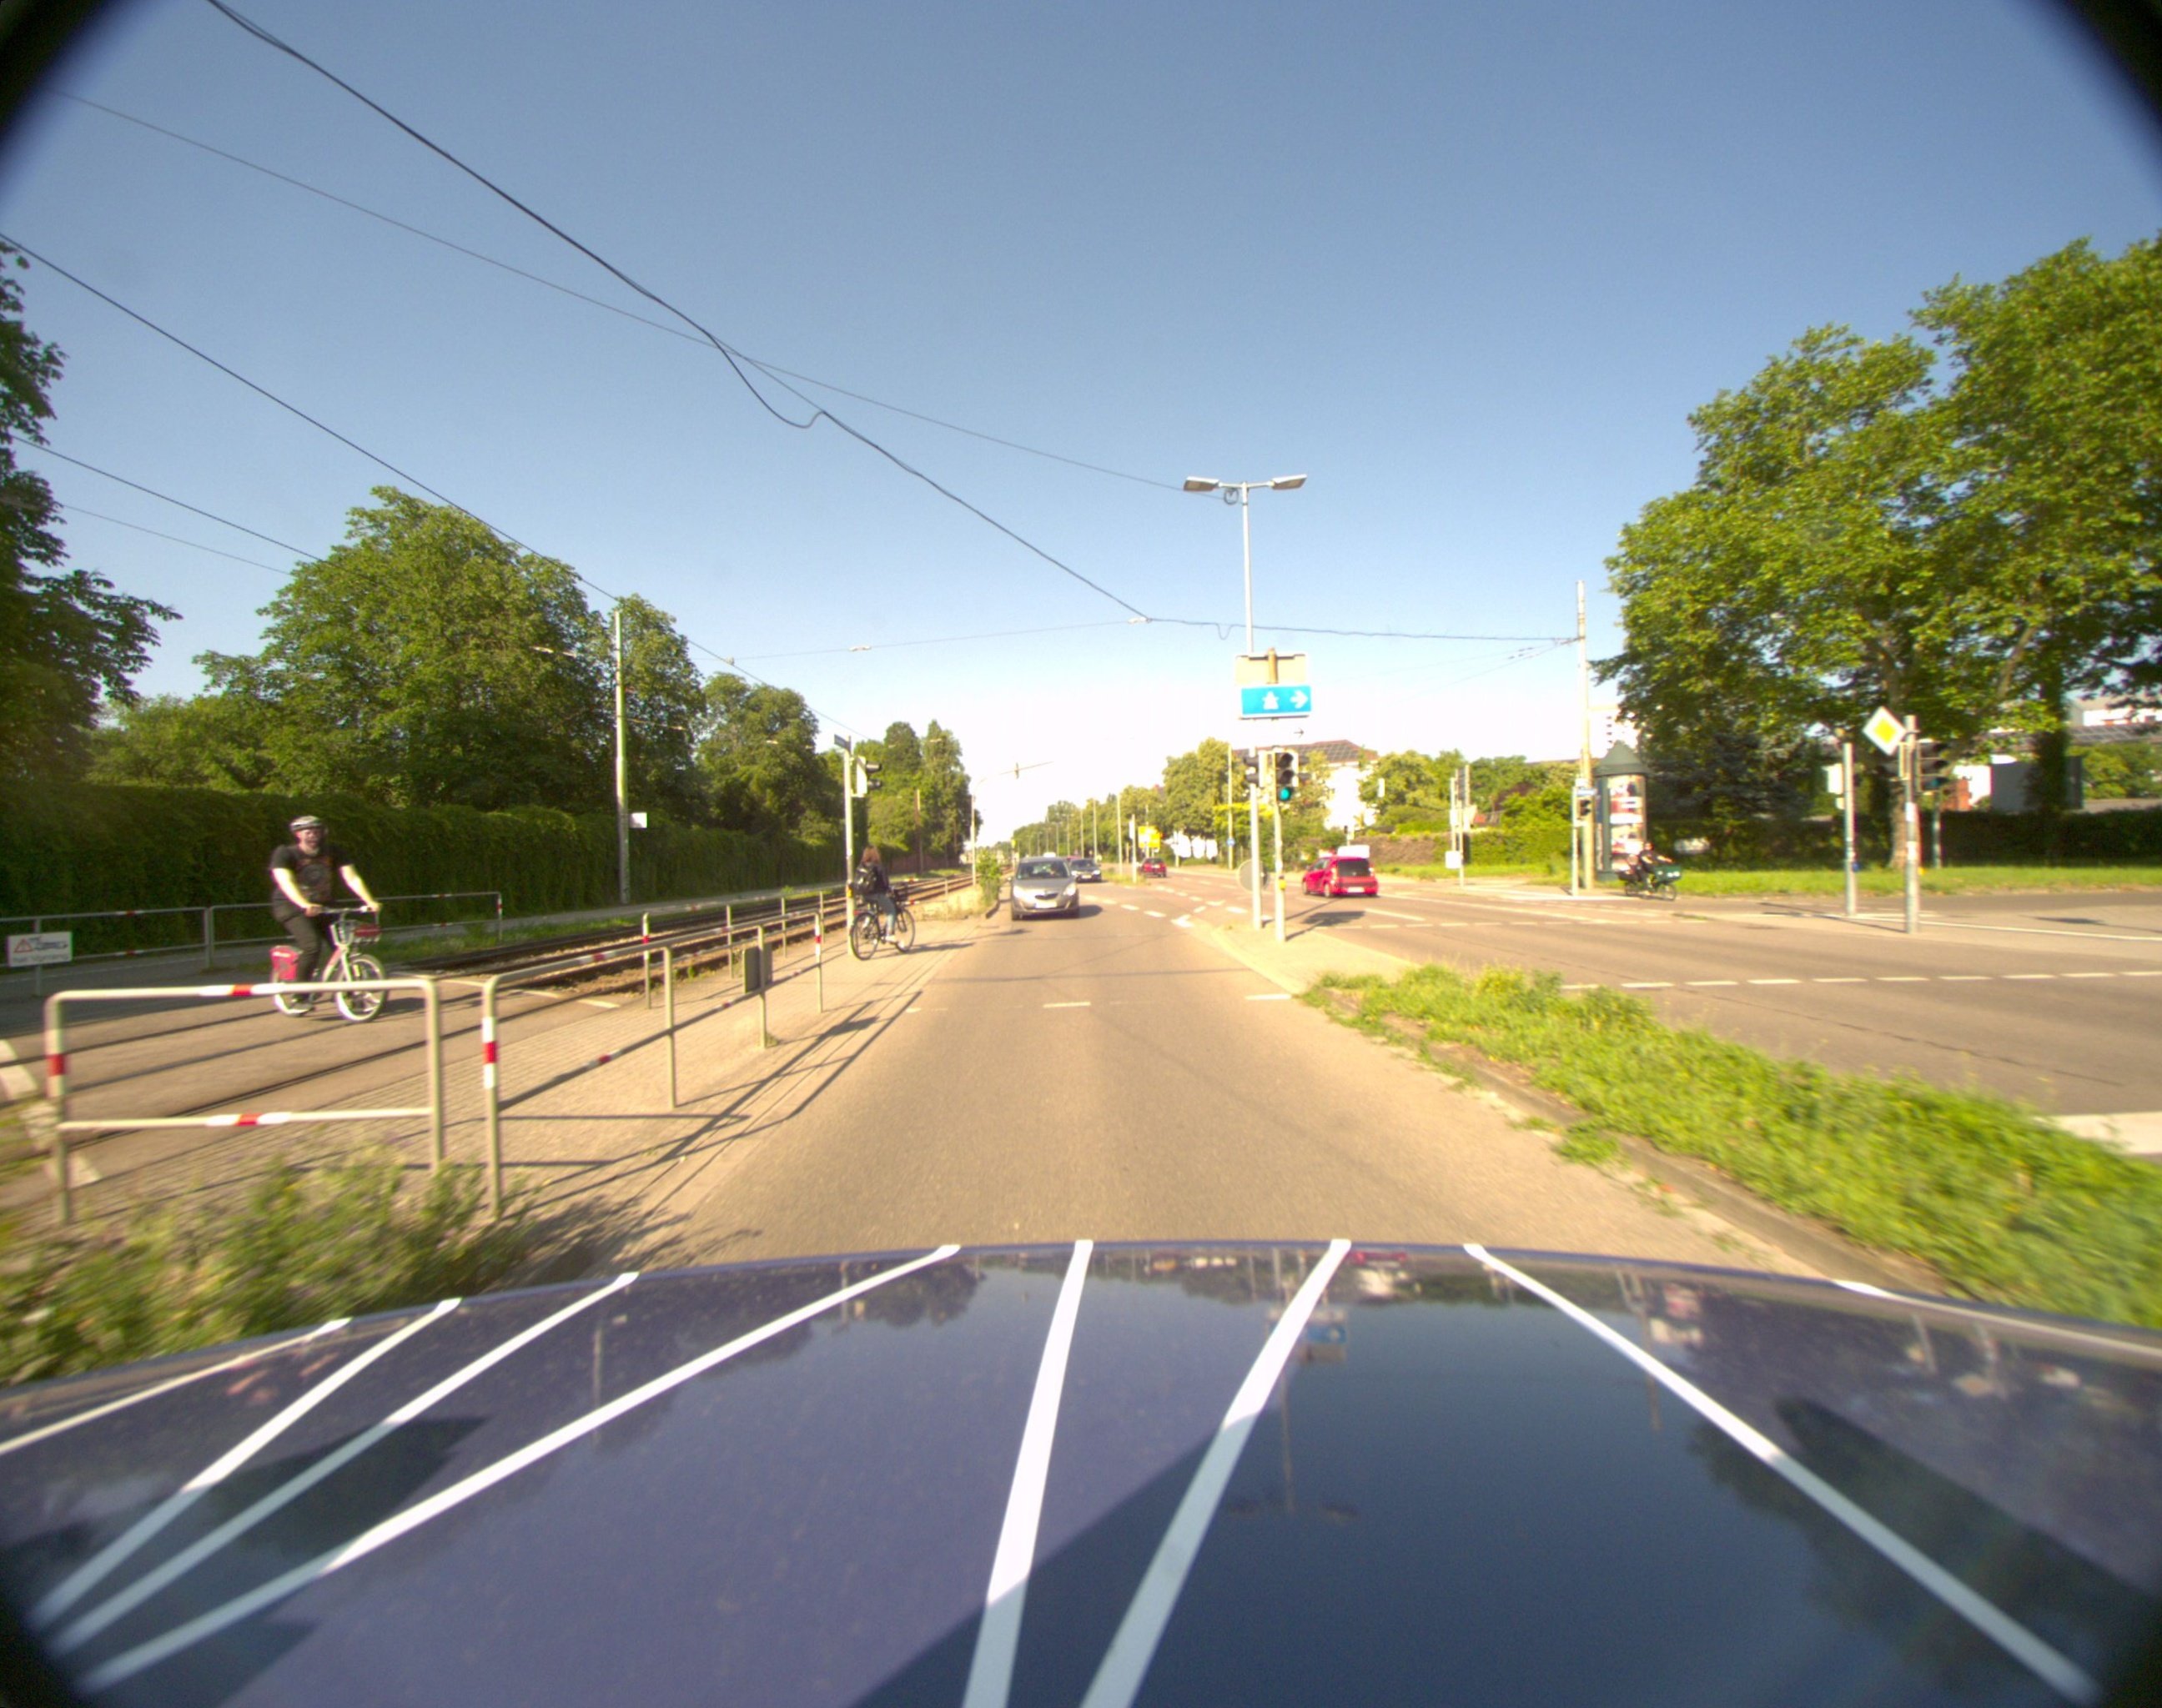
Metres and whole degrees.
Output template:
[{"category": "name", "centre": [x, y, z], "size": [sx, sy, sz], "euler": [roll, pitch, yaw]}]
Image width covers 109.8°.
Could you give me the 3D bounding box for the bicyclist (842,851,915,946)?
[{"category": "bicyclist", "centre": [-3.148, 0.664, 11.885], "size": [0.644, 1.408, 1.014], "euler": [-1, 1, 15]}]

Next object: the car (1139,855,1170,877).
[{"category": "car", "centre": [5.100, 0.824, 53.333], "size": [1.657, 1.387, 4.133], "euler": [-1, 0, -1]}]

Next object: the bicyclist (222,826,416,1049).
[{"category": "bicyclist", "centre": [-7.356, 0.750, 7.368], "size": [1.034, 1.982, 0.949], "euler": [-1, 1, 23]}]

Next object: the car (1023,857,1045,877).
[{"category": "car", "centre": [-3.898, 1.051, 62.307], "size": [1.710, 1.513, 3.831], "euler": [-3, 0, -5]}]

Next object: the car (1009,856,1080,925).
[{"category": "car", "centre": [-0.967, 0.890, 20.239], "size": [1.650, 1.581, 3.832], "euler": [-3, 0, -3]}]

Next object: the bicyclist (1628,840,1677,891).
[{"category": "bicyclist", "centre": [16.790, 0.320, 22.352], "size": [0.663, 1.444, 1.051], "euler": [-1, 1, 2]}]

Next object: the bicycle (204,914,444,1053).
[{"category": "bicycle", "centre": [-7.331, 1.186, 7.371], "size": [1.923, 1.108, 0.949], "euler": [-1, 1, 23]}]

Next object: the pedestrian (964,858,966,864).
[{"category": "pedestrian", "centre": [-30.506, 1.786, 199.645], "size": [0.501, 1.706, 0.885], "euler": [-1, 0, -2]}]

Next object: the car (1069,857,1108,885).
[{"category": "car", "centre": [0.402, 0.982, 45.553], "size": [1.765, 1.477, 4.642], "euler": [-3, 0, -6]}]

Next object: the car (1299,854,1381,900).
[{"category": "car", "centre": [8.662, 0.736, 25.672], "size": [1.578, 1.408, 3.333], "euler": [-1, 0, -1]}]

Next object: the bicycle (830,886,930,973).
[{"category": "bicycle", "centre": [-3.131, 1.136, 12.033], "size": [0.644, 1.147, 1.939], "euler": [2, 1, 15]}]

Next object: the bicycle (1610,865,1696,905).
[{"category": "bicycle", "centre": [16.805, 0.878, 22.417], "size": [0.663, 1.043, 2.580], "euler": [-1, 0, 2]}]

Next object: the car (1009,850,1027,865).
[{"category": "car", "centre": [-6.806, 0.343, 81.992], "size": [1.711, 1.513, 3.830], "euler": [-3, 0, -8]}]
